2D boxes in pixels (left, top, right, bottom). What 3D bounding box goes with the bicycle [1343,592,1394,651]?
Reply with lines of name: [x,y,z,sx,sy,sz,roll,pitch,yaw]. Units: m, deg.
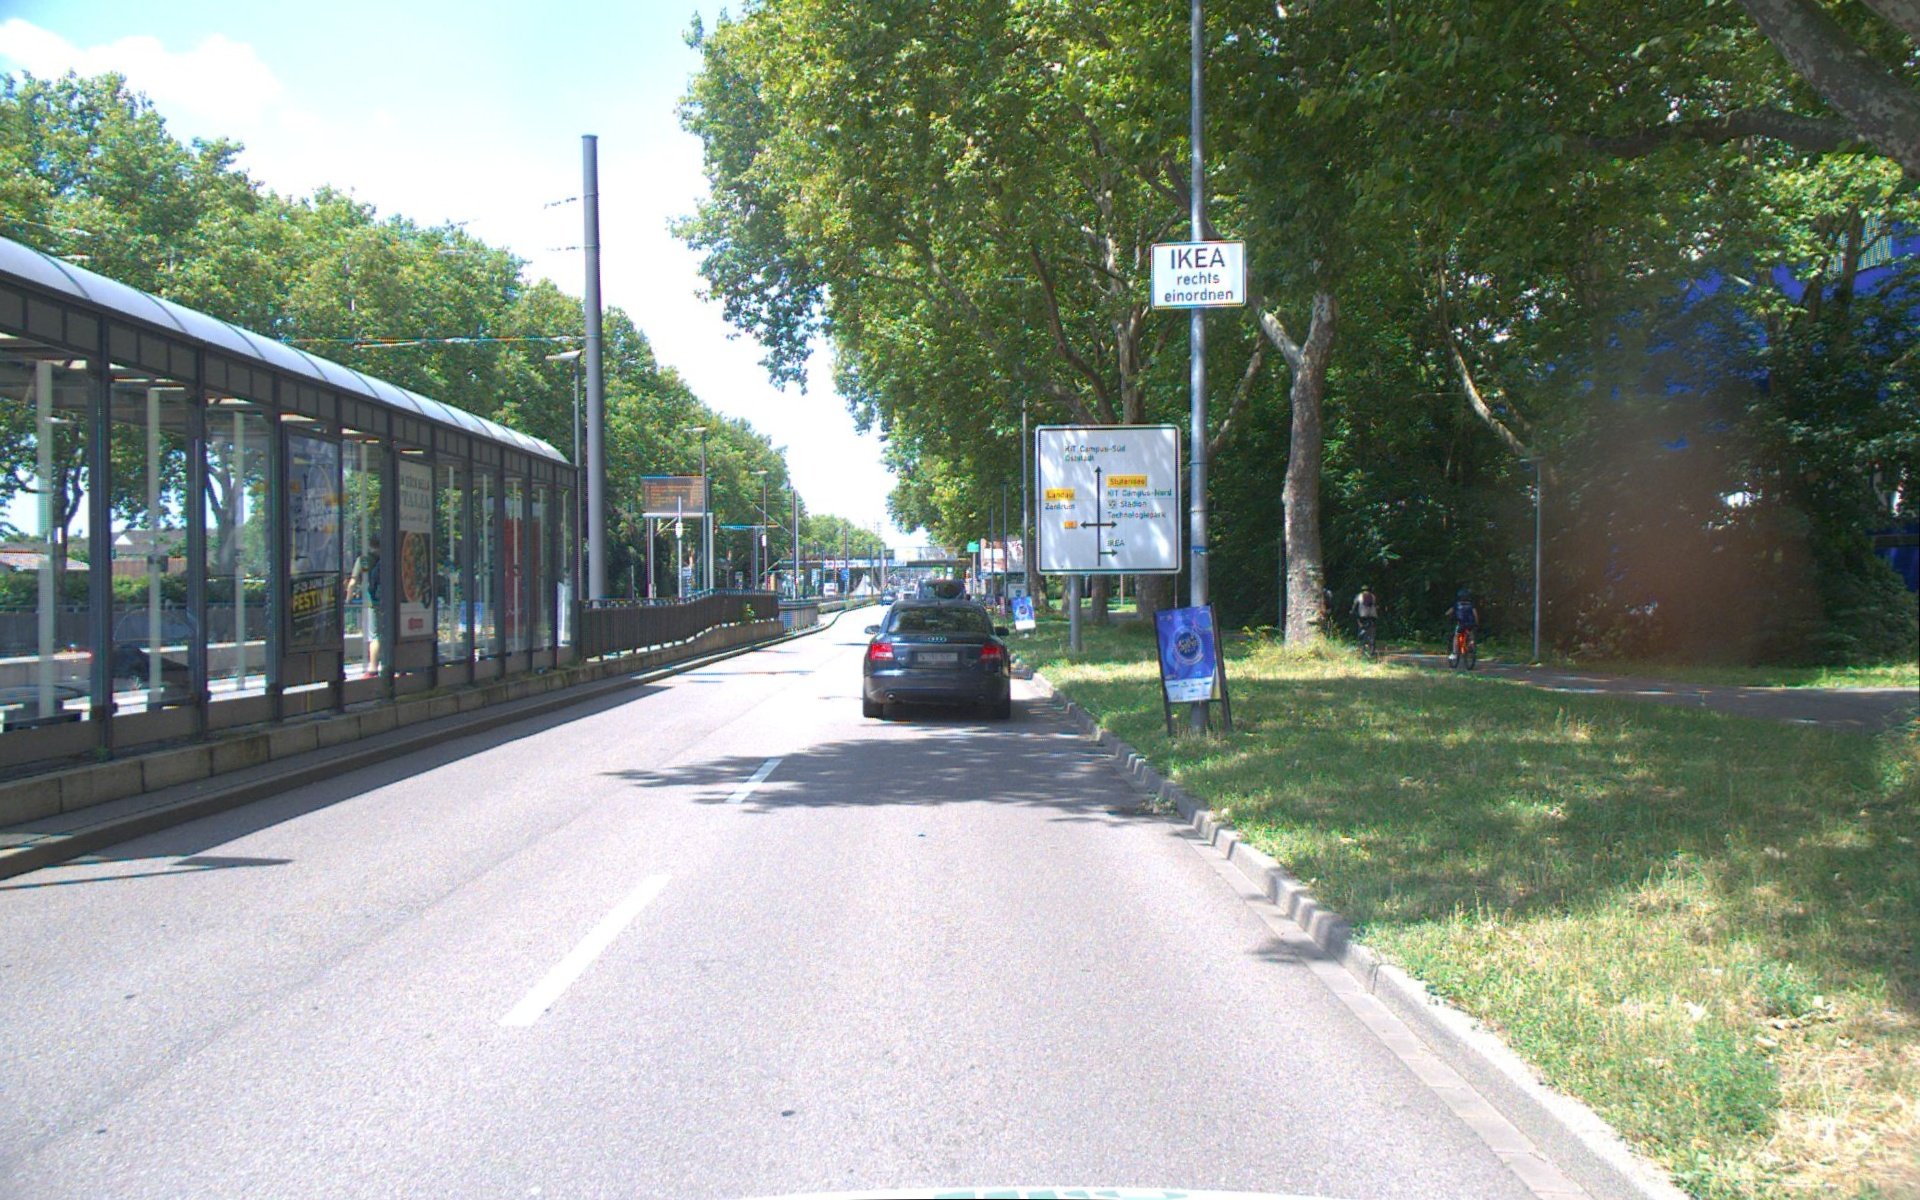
bicycle: [10.413,0.529,42.244,0.598,1.444,2.661,-1,0,-1]

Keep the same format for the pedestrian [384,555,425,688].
pedestrian: [-6.504,0.250,19.351,0.412,1.534,0.393,0,0,-24]

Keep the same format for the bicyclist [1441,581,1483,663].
bicyclist: [10.182,0.432,33.583,0.610,1.638,0.817,0,0,0]

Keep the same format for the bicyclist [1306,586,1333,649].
bicyclist: [10.261,0.483,47.239,0.585,1.776,0.843,0,0,-1]

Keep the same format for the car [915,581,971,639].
car: [-0.576,0.347,58.910,1.810,1.994,4.145,1,0,1]

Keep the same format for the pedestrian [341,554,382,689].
pedestrian: [-6.920,0.241,19.127,0.412,1.534,0.393,0,0,-24]

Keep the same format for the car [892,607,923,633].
car: [-3.146,1.185,98.225,1.808,1.489,3.998,0,0,-3]

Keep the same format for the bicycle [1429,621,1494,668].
bicycle: [10.162,0.893,33.597,0.632,0.902,2.022,0,0,-2]

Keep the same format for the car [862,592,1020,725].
car: [-0.239,0.698,21.035,1.805,1.510,3.999,1,-1,-1]

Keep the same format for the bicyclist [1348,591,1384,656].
bicyclist: [10.376,0.594,42.327,0.645,1.627,1.053,0,0,-1]

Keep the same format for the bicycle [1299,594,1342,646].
bicycle: [10.294,0.560,47.295,0.598,1.444,2.661,-1,0,-1]
